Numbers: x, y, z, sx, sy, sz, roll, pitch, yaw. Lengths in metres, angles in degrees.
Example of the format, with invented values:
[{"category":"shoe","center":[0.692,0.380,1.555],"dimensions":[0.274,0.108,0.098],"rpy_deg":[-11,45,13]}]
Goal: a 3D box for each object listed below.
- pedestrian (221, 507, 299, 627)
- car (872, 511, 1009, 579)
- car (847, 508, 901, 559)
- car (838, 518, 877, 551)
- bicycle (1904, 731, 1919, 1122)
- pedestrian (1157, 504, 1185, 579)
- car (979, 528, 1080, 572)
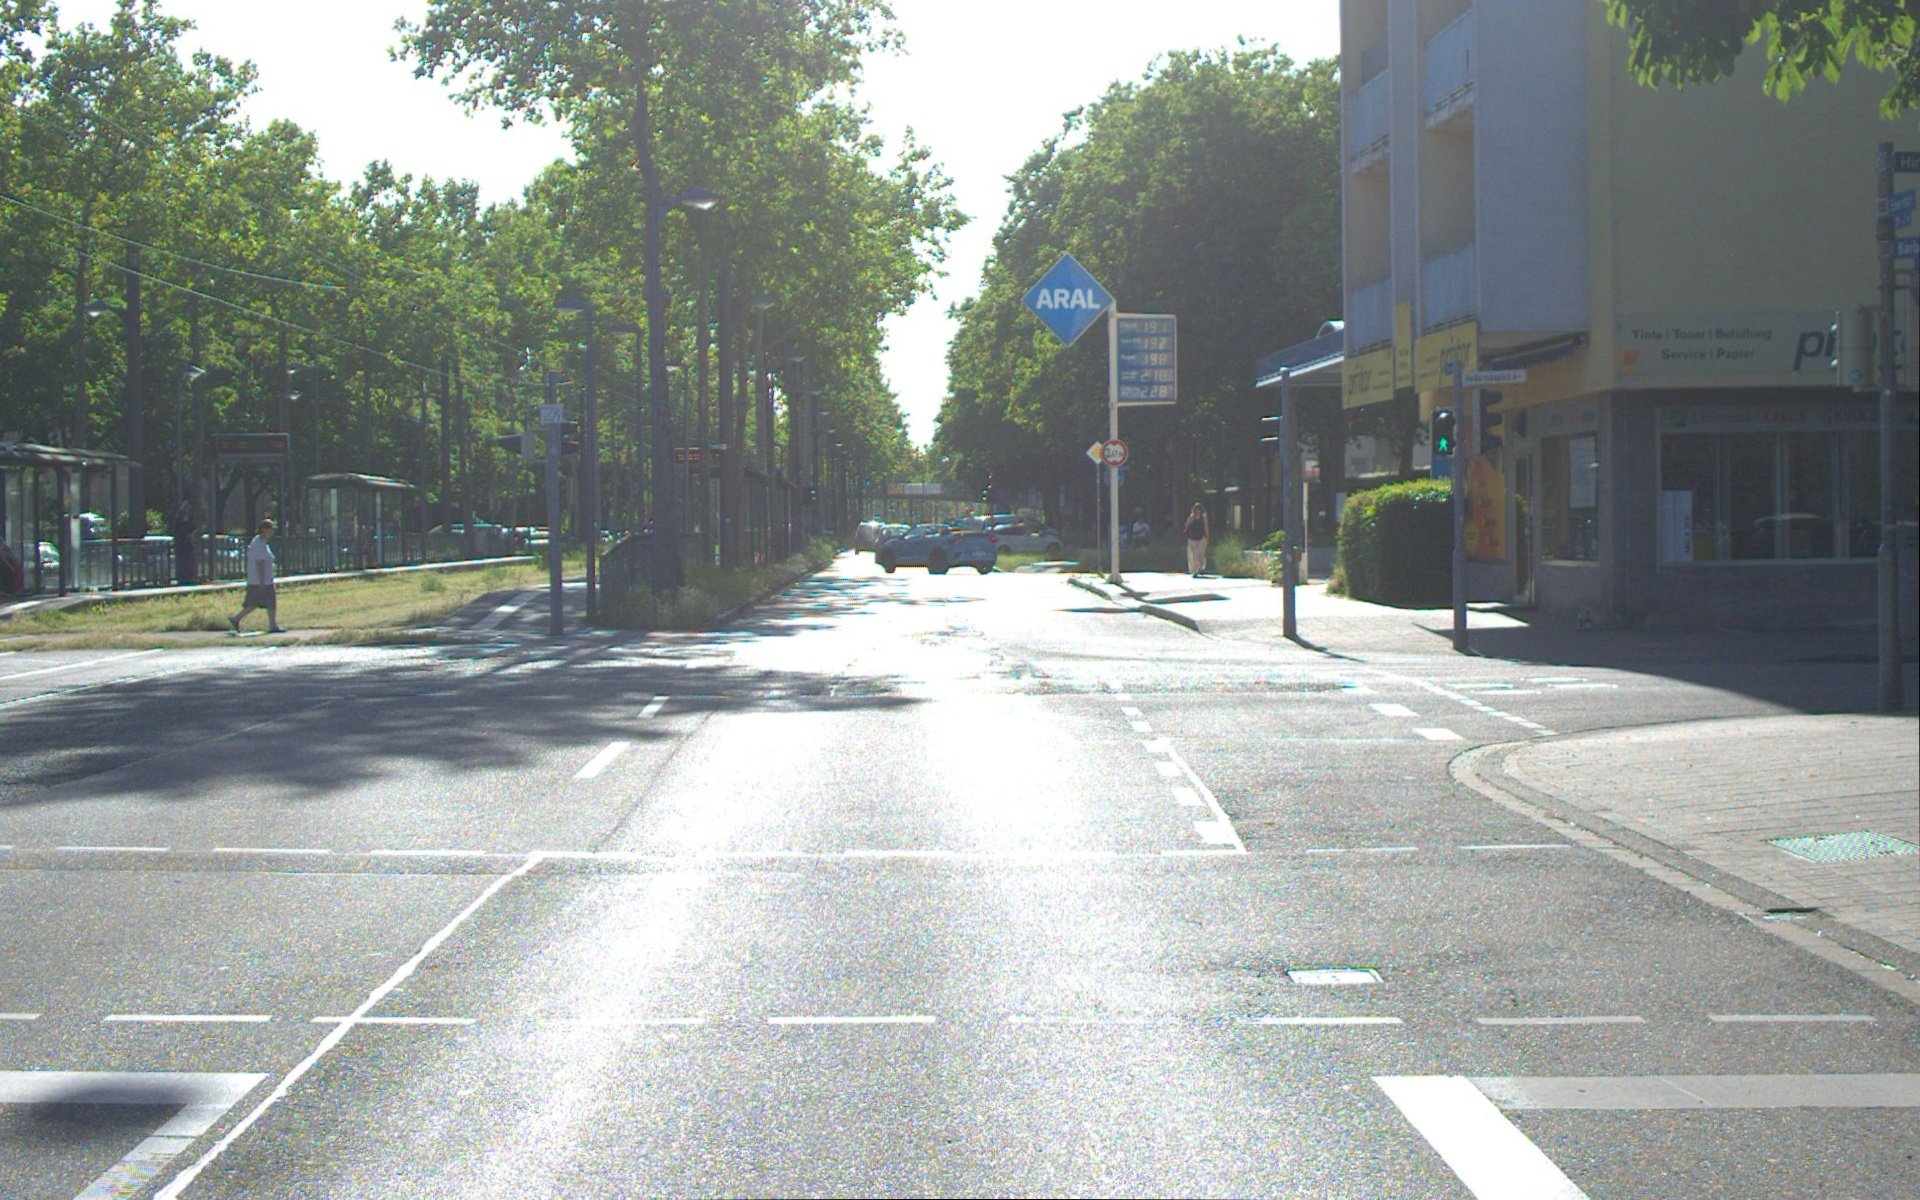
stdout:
[{"category":"pedestrian","center":[-9.523,-0.452,46.773],"dimensions":[0.891,1.601,0.613],"rpy_deg":[2,1,-1]},{"category":"car","center":[-0.581,-1.617,100.691],"dimensions":[2.005,1.853,4.000],"rpy_deg":[1,2,-36]},{"category":"car","center":[-3.365,-2.594,133.583],"dimensions":[1.968,1.853,4.001],"rpy_deg":[2,1,-2]},{"category":"car","center":[-5.224,-3.357,175.031],"dimensions":[1.894,1.605,4.501],"rpy_deg":[2,1,-2]},{"category":"bicycle","center":[2.710,0.847,7.834],"dimensions":[0.648,0.969,1.803],"rpy_deg":[2,1,2]},{"category":"pedestrian","center":[4.941,-1.368,80.570],"dimensions":[0.574,1.741,0.506],"rpy_deg":[2,1,-1]},{"category":"car","center":[3.028,-2.174,149.399],"dimensions":[3.986,1.744,1.755],"rpy_deg":[1,1,-29]}]
